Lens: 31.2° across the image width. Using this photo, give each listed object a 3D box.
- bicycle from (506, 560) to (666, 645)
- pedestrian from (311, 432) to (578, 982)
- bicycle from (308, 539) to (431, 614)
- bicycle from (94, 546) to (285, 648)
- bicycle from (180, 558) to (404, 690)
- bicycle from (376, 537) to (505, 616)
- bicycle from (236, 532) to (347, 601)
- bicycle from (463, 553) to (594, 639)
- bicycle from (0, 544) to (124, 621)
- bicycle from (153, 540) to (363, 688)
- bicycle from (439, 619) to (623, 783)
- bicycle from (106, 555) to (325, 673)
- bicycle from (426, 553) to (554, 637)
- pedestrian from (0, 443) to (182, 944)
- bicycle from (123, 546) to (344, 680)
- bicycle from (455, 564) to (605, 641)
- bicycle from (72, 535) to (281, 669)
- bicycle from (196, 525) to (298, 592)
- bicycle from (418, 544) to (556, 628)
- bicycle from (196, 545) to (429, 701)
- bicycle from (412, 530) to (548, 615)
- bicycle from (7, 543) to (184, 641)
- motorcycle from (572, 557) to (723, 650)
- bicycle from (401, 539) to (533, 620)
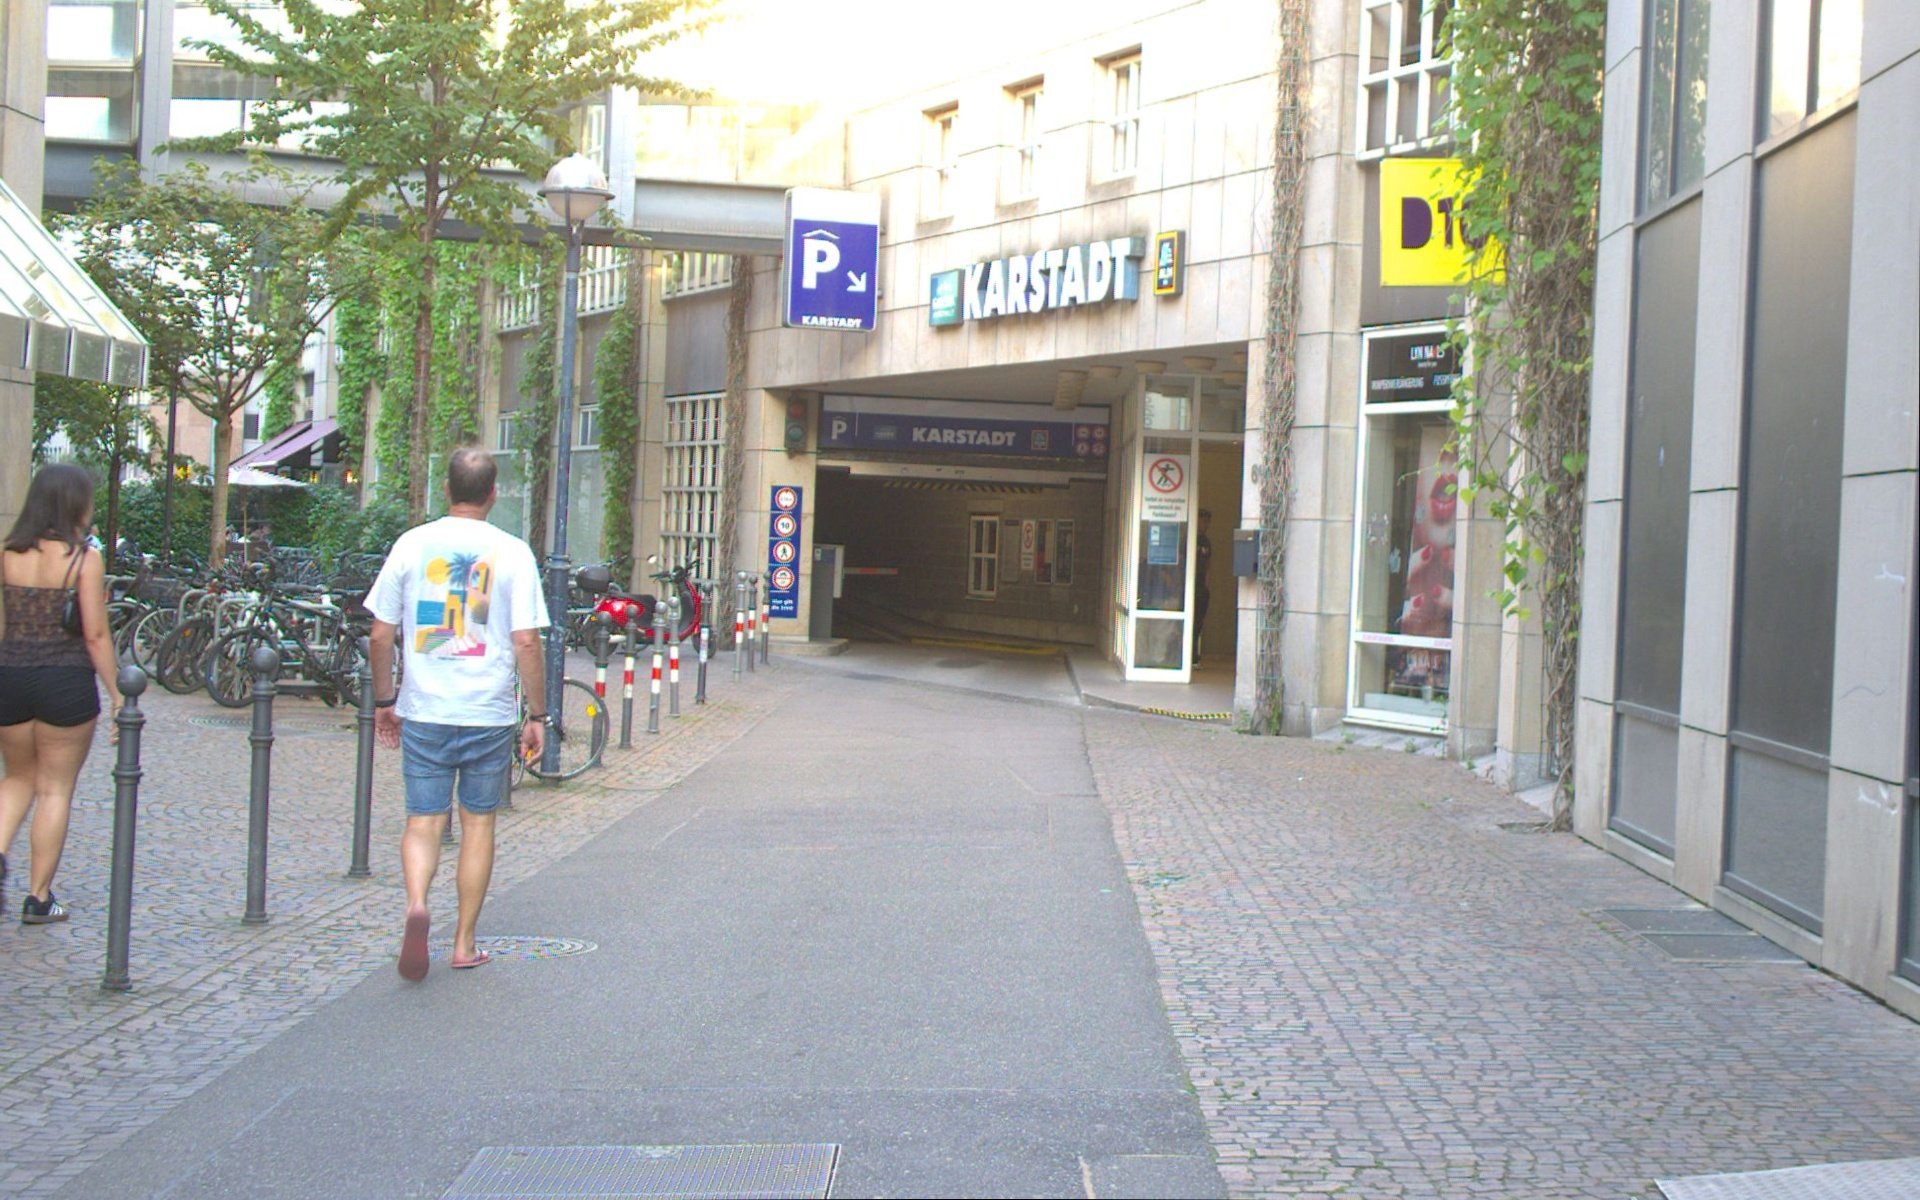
[{"bbox_3d":[-4.533,0.030,41.730,1.847,0.978,0.464,1,1,-19],"label":"bicycle"},{"bbox_3d":[-1.770,0.349,11.921,0.742,1.816,0.878,2,1,0],"label":"pedestrian"},{"bbox_3d":[-9.055,-0.359,52.705,1.773,1.110,0.543,1,1,-19],"label":"bicycle"},{"bbox_3d":[-8.091,-0.030,36.107,1.876,1.039,0.534,1,1,-22],"label":"bicycle"},{"bbox_3d":[-5.851,0.215,30.134,1.836,1.118,0.534,1,1,-22],"label":"bicycle"},{"bbox_3d":[-7.623,-0.345,50.427,1.773,1.110,0.543,1,1,-19],"label":"bicycle"},{"bbox_3d":[-11.381,-0.573,58.513,1.773,1.110,0.543,1,1,-17],"label":"bicycle"},{"bbox_3d":[-5.464,-0.049,43.544,1.539,1.045,0.575,1,1,-19],"label":"bicycle"},{"bbox_3d":[-12.251,-0.238,46.478,1.779,1.016,0.481,1,1,-22],"label":"bicycle"},{"bbox_3d":[-5.969,0.120,29.242,1.653,1.226,0.534,1,1,-22],"label":"bicycle"},{"bbox_3d":[-2.662,0.613,21.475,0.493,0.935,1.658,4,1,15],"label":"bicycle"},{"bbox_3d":[-6.849,0.132,31.632,1.893,1.048,0.534,1,1,-22],"label":"bicycle"},{"bbox_3d":[-6.090,-0.064,44.531,1.539,1.045,0.575,1,1,-19],"label":"bicycle"},{"bbox_3d":[-3.487,0.321,12.871,0.785,1.789,0.972,2,1,8],"label":"pedestrian"},{"bbox_3d":[-6.572,0.118,31.097,1.872,1.173,0.534,1,1,-22],"label":"bicycle"},{"bbox_3d":[-5.326,0.036,42.593,1.773,0.901,0.464,1,1,-19],"label":"bicycle"},{"bbox_3d":[-7.360,0.019,32.311,1.833,1.221,0.534,1,1,-22],"label":"bicycle"},{"bbox_3d":[-13.207,-0.766,63.672,1.773,1.186,0.586,1,1,-19],"label":"bicycle"},{"bbox_3d":[-6.477,-0.191,47.105,1.773,1.110,0.543,1,1,-19],"label":"bicycle"},{"bbox_3d":[-5.263,0.189,27.954,1.766,1.226,0.534,1,1,-22],"label":"bicycle"},{"bbox_3d":[-6.731,-0.382,48.181,1.773,1.110,0.543,2,1,-19],"label":"bicycle"},{"bbox_3d":[-9.524,-0.084,37.886,1.824,1.039,0.534,1,1,-22],"label":"bicycle"},{"bbox_3d":[-3.647,0.042,40.100,1.662,1.047,0.464,1,1,-19],"label":"motorcycle"},{"bbox_3d":[-7.085,-0.294,49.389,1.773,1.110,0.543,1,1,-19],"label":"bicycle"}]
